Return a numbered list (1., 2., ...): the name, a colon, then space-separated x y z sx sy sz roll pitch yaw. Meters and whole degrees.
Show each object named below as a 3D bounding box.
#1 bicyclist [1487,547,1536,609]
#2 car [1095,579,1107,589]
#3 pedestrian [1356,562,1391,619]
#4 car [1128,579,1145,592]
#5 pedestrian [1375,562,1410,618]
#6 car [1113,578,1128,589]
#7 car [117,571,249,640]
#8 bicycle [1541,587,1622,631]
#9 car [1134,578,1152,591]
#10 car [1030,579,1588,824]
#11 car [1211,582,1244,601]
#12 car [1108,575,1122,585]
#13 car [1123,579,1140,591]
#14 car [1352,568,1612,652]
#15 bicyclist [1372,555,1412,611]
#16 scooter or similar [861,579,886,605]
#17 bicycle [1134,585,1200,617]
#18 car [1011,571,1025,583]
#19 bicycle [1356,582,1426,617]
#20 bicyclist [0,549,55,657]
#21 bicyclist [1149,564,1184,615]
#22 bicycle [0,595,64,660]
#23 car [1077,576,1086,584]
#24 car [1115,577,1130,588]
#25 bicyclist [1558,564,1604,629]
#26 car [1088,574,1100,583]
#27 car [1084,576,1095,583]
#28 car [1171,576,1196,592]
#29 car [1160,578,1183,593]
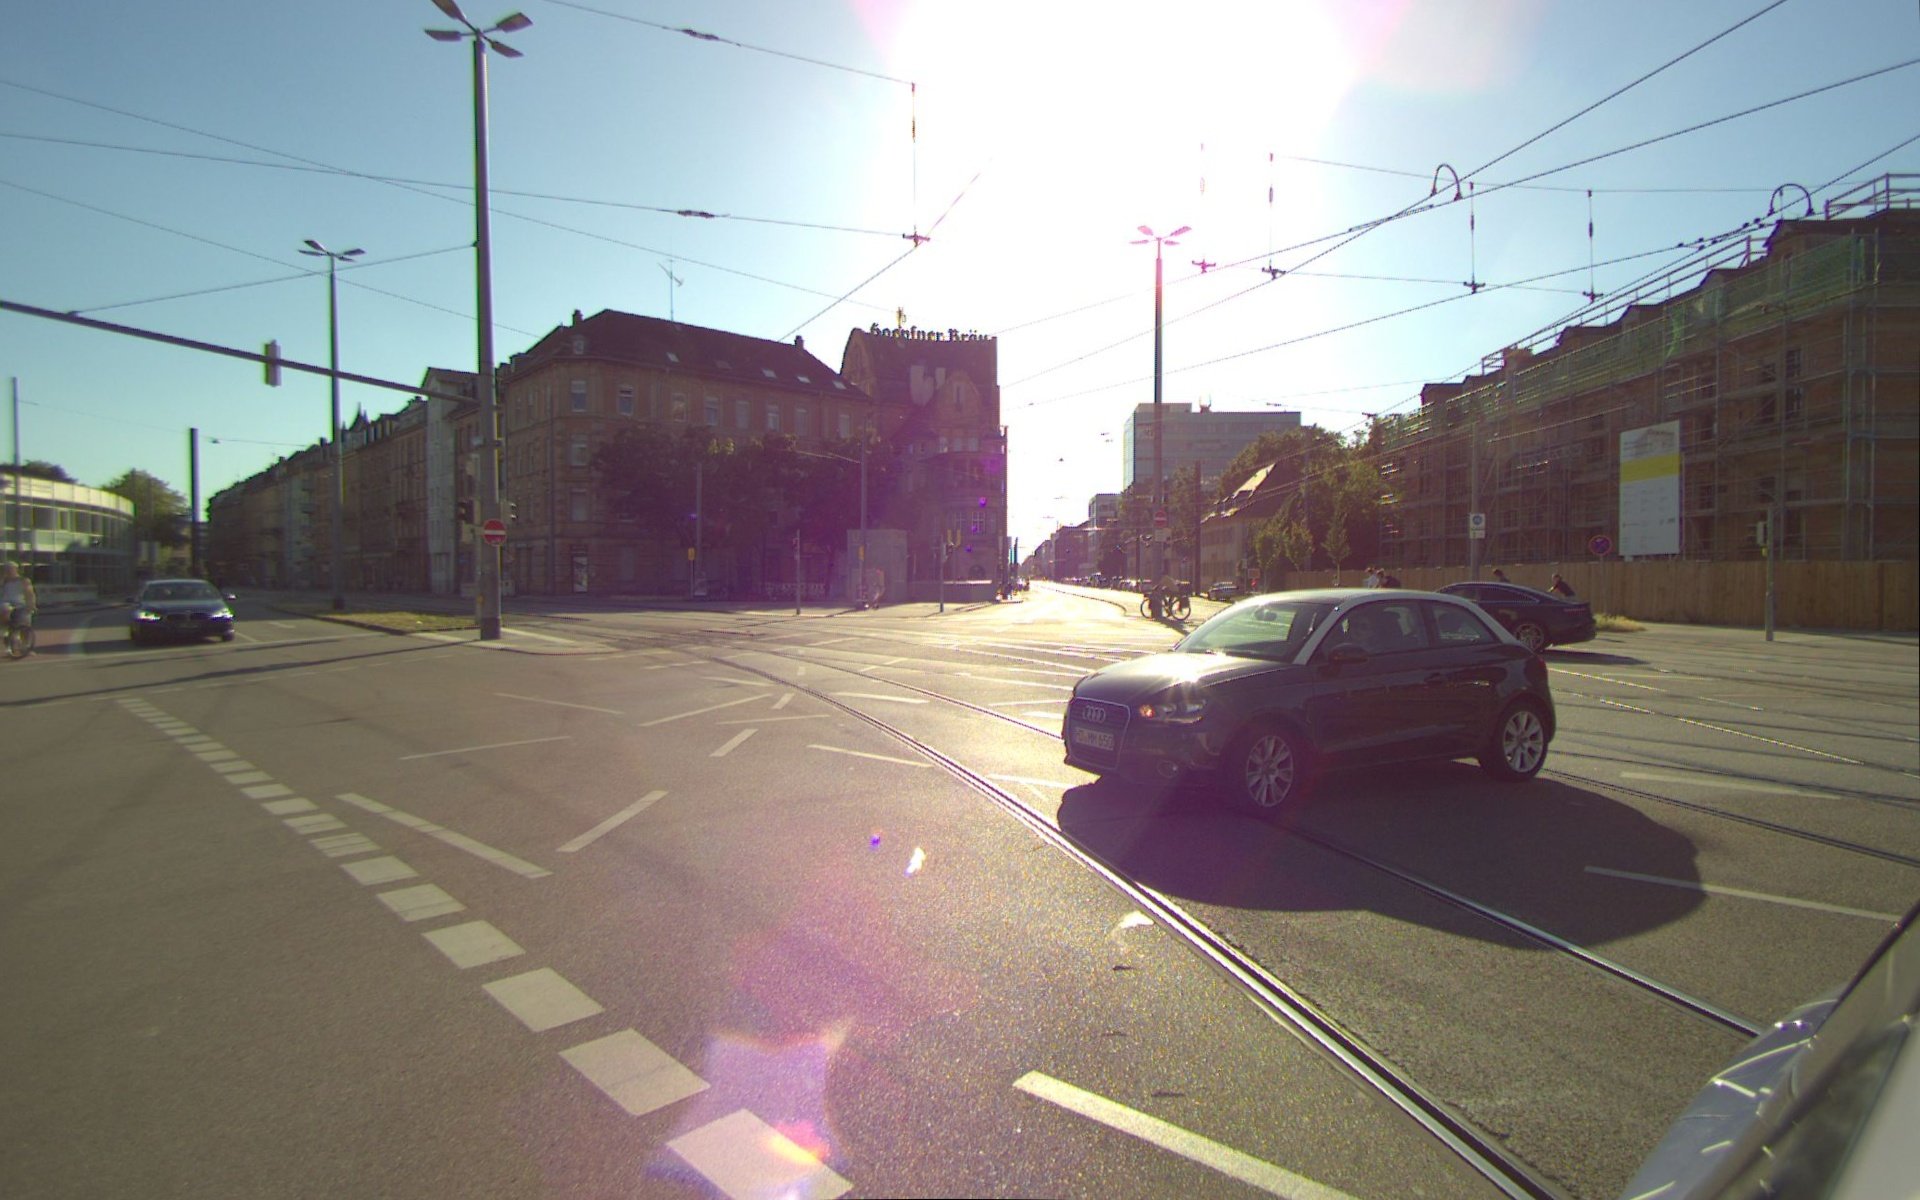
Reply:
1. bicyclist: 14.595 -0.565 26.781 0.637 1.589 0.972 3 -2 -44
2. car: 24.993 -2.852 179.247 1.724 1.626 4.016 -1 0 2
3. pedestrian: 14.121 -0.318 34.571 0.677 1.872 0.821 2 -1 -29
4. car: 22.860 -1.863 131.185 1.724 1.482 4.016 -1 0 2
5. pedestrian: 14.934 -0.335 34.949 0.677 1.872 0.821 2 -1 -29
6. car: 23.636 -2.376 149.227 1.724 1.482 4.016 -1 0 2
7. car: -18.389 0.070 23.885 3.988 1.471 1.968 1 2 45
8. bicycle: 16.641 0.236 27.102 1.768 1.137 0.638 1 -1 40
9. car: 22.687 -1.919 125.547 1.724 1.482 4.016 -1 0 2
10. car: 2.570 0.559 7.439 3.752 1.405 1.699 -1 1 -25
11. car: 21.421 -0.659 81.255 1.724 1.482 4.016 -1 0 2
12. car: 24.301 -3.072 158.458 1.724 1.482 4.016 -1 0 2
13. car: 23.040 -2.017 136.299 1.724 1.482 4.016 -1 0 2
14. car: 10.885 0.119 21.286 4.629 1.510 1.794 2 4 38
15. bicyclist: 13.433 -0.540 31.458 0.970 1.716 0.639 1 0 40
16. scooter or similar: -4.102 -0.399 47.937 0.715 1.216 1.448 1 0 -23
17. bicycle: 7.105 0.022 34.714 2.087 1.040 0.760 1 0 29
18. car: 11.133 -4.411 193.713 1.959 2.039 4.004 2 -1 -7
19. bicycle: 13.396 -0.021 31.487 1.898 1.040 0.639 1 1 40
20. bicyclist: -18.532 0.031 19.751 1.137 2.038 1.021 1 3 36
21. bicyclist: 7.090 -0.367 34.734 0.966 1.716 0.760 1 0 29
22. bicycle: -18.624 0.506 19.841 2.515 1.137 1.021 1 3 36
23. car: 26.860 -4.427 223.903 1.724 1.482 4.016 -1 0 2
24. car: 23.161 -2.439 144.337 1.724 1.482 4.016 -1 0 2
25. bicyclist: 16.642 -0.093 27.119 0.970 1.683 0.639 0 -2 40
26. car: 25.237 -4.068 190.729 1.724 1.482 4.016 -1 0 2
27. car: 26.526 -4.208 207.458 1.724 1.482 4.016 -1 0 2
28. car: 22.121 -1.581 100.277 1.724 1.482 4.016 -1 0 2
29. car: 22.183 -1.519 106.165 1.724 1.482 4.016 -1 0 2
